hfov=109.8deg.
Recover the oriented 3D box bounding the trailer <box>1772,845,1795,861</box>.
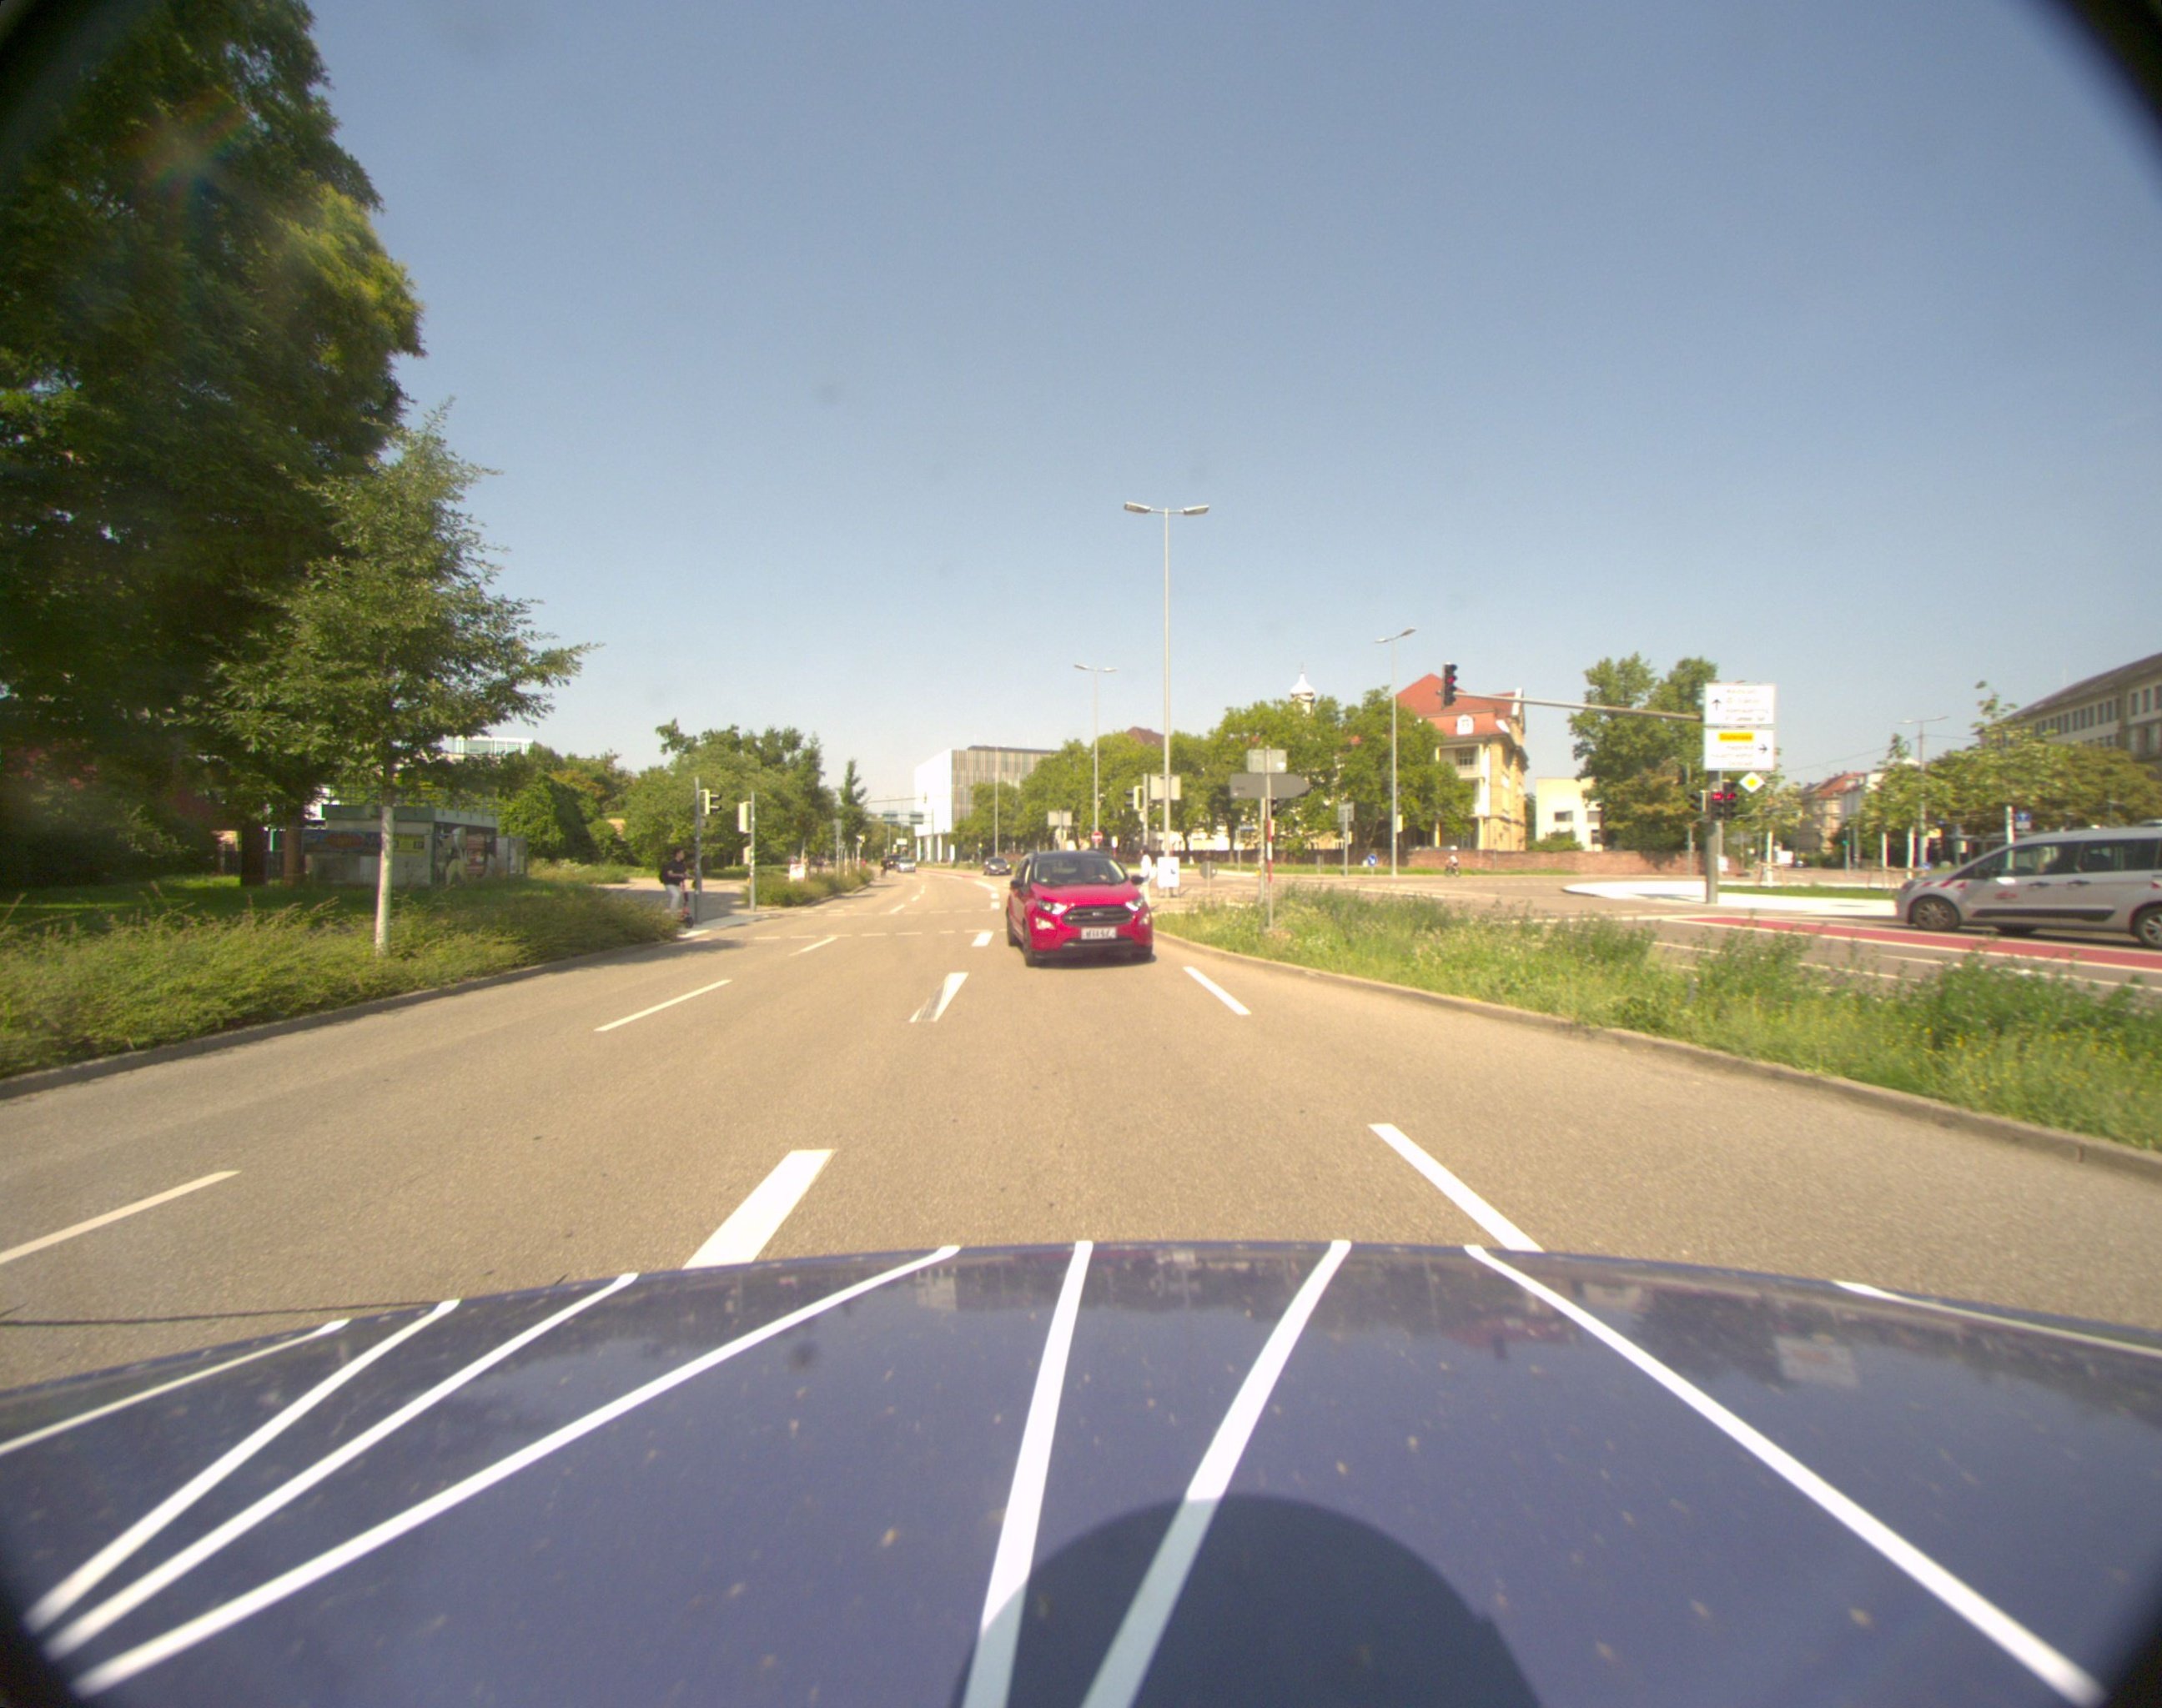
[{"bbox_3d":[142.464,-0.190,154.069,2.435,3.269,5.099,1,0,31],"label":"trailer"}]

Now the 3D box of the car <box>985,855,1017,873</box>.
[{"bbox_3d":[-6.301,0.743,59.643,1.793,1.349,3.418,-2,1,-18],"label":"car"}]

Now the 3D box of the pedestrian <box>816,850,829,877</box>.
[{"bbox_3d":[-16.774,0.594,49.374,0.794,1.758,0.825,0,1,-17],"label":"pedestrian"}]

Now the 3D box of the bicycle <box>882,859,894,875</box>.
[{"bbox_3d":[-14.540,0.983,57.340,0.787,1.205,1.786,0,0,-17],"label":"bicycle"}]

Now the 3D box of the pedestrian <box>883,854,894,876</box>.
[{"bbox_3d":[-14.497,0.821,57.211,0.781,1.659,0.548,0,1,-17],"label":"pedestrian"}]

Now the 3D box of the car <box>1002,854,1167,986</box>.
[{"bbox_3d":[-0.139,0.830,11.673,1.845,1.605,3.996,-2,1,-9],"label":"car"}]

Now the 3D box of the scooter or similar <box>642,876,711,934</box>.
[{"bbox_3d":[-9.201,1.134,17.291,1.365,1.227,0.586,1,1,19],"label":"scooter or similar"}]

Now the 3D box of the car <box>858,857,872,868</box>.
[{"bbox_3d":[-36.134,1.461,127.069,2.002,1.769,3.994,0,0,-18],"label":"car"}]

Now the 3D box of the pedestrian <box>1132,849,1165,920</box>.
[{"bbox_3d":[1.653,0.725,18.480,0.699,1.685,0.608,1,1,13],"label":"pedestrian"}]

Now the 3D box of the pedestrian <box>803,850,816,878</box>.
[{"bbox_3d":[-16.836,0.620,47.133,0.694,1.761,0.586,0,1,-17],"label":"pedestrian"}]

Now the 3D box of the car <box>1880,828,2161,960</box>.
[{"bbox_3d":[15.992,0.595,11.984,1.999,1.849,4.332,2,0,-5],"label":"car"}]

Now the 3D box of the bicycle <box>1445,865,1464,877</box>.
[{"bbox_3d":[27.836,1.268,56.665,1.488,0.807,0.436,0,1,-24],"label":"bicycle"}]

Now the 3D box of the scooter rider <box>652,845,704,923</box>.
[{"bbox_3d":[-9.186,0.660,17.339,0.803,1.729,0.690,1,1,19],"label":"scooter rider"}]

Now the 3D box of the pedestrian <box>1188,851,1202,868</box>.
[{"bbox_3d":[13.668,0.679,91.289,1.074,2.002,1.231,0,1,-41],"label":"pedestrian"}]

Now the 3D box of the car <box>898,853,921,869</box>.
[{"bbox_3d":[-18.380,0.766,81.274,2.002,1.669,3.994,0,0,-18],"label":"car"}]

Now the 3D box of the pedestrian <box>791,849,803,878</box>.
[{"bbox_3d":[-17.471,0.597,46.751,0.694,1.761,0.586,0,1,-17],"label":"pedestrian"}]

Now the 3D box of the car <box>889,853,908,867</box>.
[{"bbox_3d":[-23.024,0.731,95.765,2.002,1.769,3.994,0,0,-18],"label":"car"}]

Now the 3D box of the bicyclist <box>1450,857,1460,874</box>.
[{"bbox_3d":[27.873,0.850,56.674,0.541,1.226,0.432,0,1,-24],"label":"bicyclist"}]
